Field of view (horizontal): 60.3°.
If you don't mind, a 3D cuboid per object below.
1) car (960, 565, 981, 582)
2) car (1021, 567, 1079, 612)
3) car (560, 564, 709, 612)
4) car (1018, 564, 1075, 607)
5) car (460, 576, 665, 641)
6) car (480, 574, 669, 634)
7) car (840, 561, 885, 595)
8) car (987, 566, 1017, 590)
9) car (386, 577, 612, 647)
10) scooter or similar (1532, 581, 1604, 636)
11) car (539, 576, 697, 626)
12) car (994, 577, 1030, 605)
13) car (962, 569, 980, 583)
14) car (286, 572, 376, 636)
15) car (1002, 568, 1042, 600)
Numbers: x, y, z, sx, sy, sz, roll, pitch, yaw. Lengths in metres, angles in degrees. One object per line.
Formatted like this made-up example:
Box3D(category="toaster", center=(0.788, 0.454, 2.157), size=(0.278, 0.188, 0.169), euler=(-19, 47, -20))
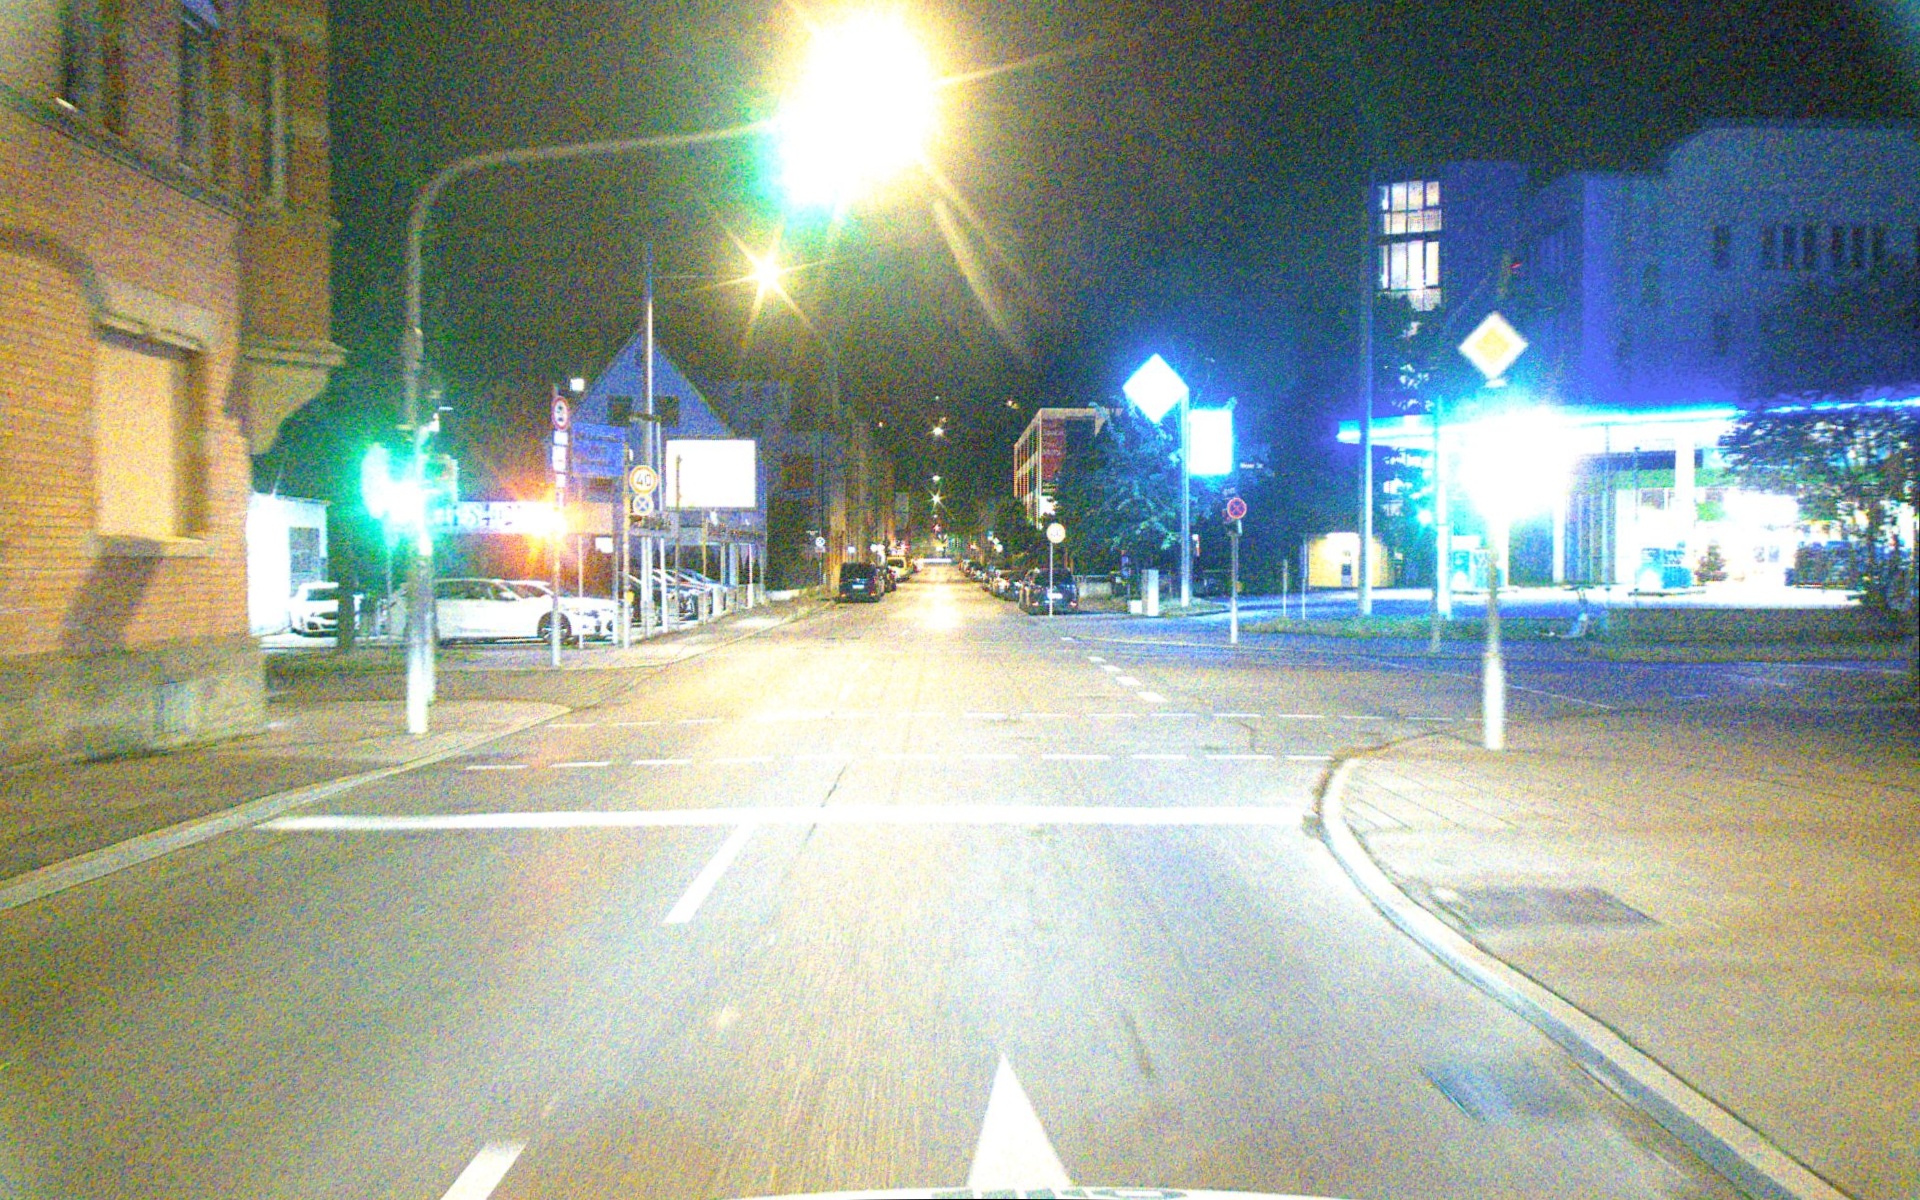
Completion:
Box3D(category="car", center=(0.990, -2.492, 156.205), size=(1.952, 1.546, 4.001), euler=(0, 0, 1))
Box3D(category="car", center=(3.238, -0.409, 60.016), size=(1.952, 1.542, 4.001), euler=(1, 1, 1))
Box3D(category="car", center=(-10.288, -0.375, 52.498), size=(4.349, 1.475, 2.000), euler=(0, 0, -1))
Box3D(category="car", center=(3.406, -0.609, 65.711), size=(1.953, 1.623, 3.999), euler=(1, 1, -2))
Box3D(category="car", center=(-9.289, 0.181, 38.912), size=(4.349, 1.475, 1.999), euler=(0, 0, -2))
Box3D(category="car", center=(-9.764, 0.086, 42.103), size=(4.349, 1.475, 2.000), euler=(0, 0, -1))
Box3D(category="car", center=(-4.591, -1.034, 78.485), size=(1.953, 1.528, 4.000), euler=(0, 0, -1))
Box3D(category="car", center=(2.743, -1.419, 108.302), size=(1.952, 1.546, 4.001), euler=(0, 0, 1))
Box3D(category="car", center=(-9.934, 0.246, 35.930), size=(4.349, 1.475, 2.000), euler=(0, 0, -1))
Box3D(category="scooter or similar", center=(13.029, 0.172, 35.437), size=(1.664, 1.111, 0.707), euler=(-2, 2, -39))
Box3D(category="car", center=(-10.222, 0.021, 49.675), size=(4.349, 1.475, 2.000), euler=(0, 0, -1))
Box3D(category="car", center=(2.839, -0.496, 91.003), size=(1.952, 1.546, 4.001), euler=(0, 0, 1))
Box3D(category="car", center=(1.231, -2.601, 179.270), size=(1.952, 1.546, 4.001), euler=(0, 0, 1))
Box3D(category="car", center=(-18.842, 0.107, 49.456), size=(1.972, 1.806, 3.960), euler=(0, 0, -30))
Box3D(category="car", center=(3.109, -0.814, 83.867), size=(1.952, 1.546, 4.001), euler=(0, 0, 1))
